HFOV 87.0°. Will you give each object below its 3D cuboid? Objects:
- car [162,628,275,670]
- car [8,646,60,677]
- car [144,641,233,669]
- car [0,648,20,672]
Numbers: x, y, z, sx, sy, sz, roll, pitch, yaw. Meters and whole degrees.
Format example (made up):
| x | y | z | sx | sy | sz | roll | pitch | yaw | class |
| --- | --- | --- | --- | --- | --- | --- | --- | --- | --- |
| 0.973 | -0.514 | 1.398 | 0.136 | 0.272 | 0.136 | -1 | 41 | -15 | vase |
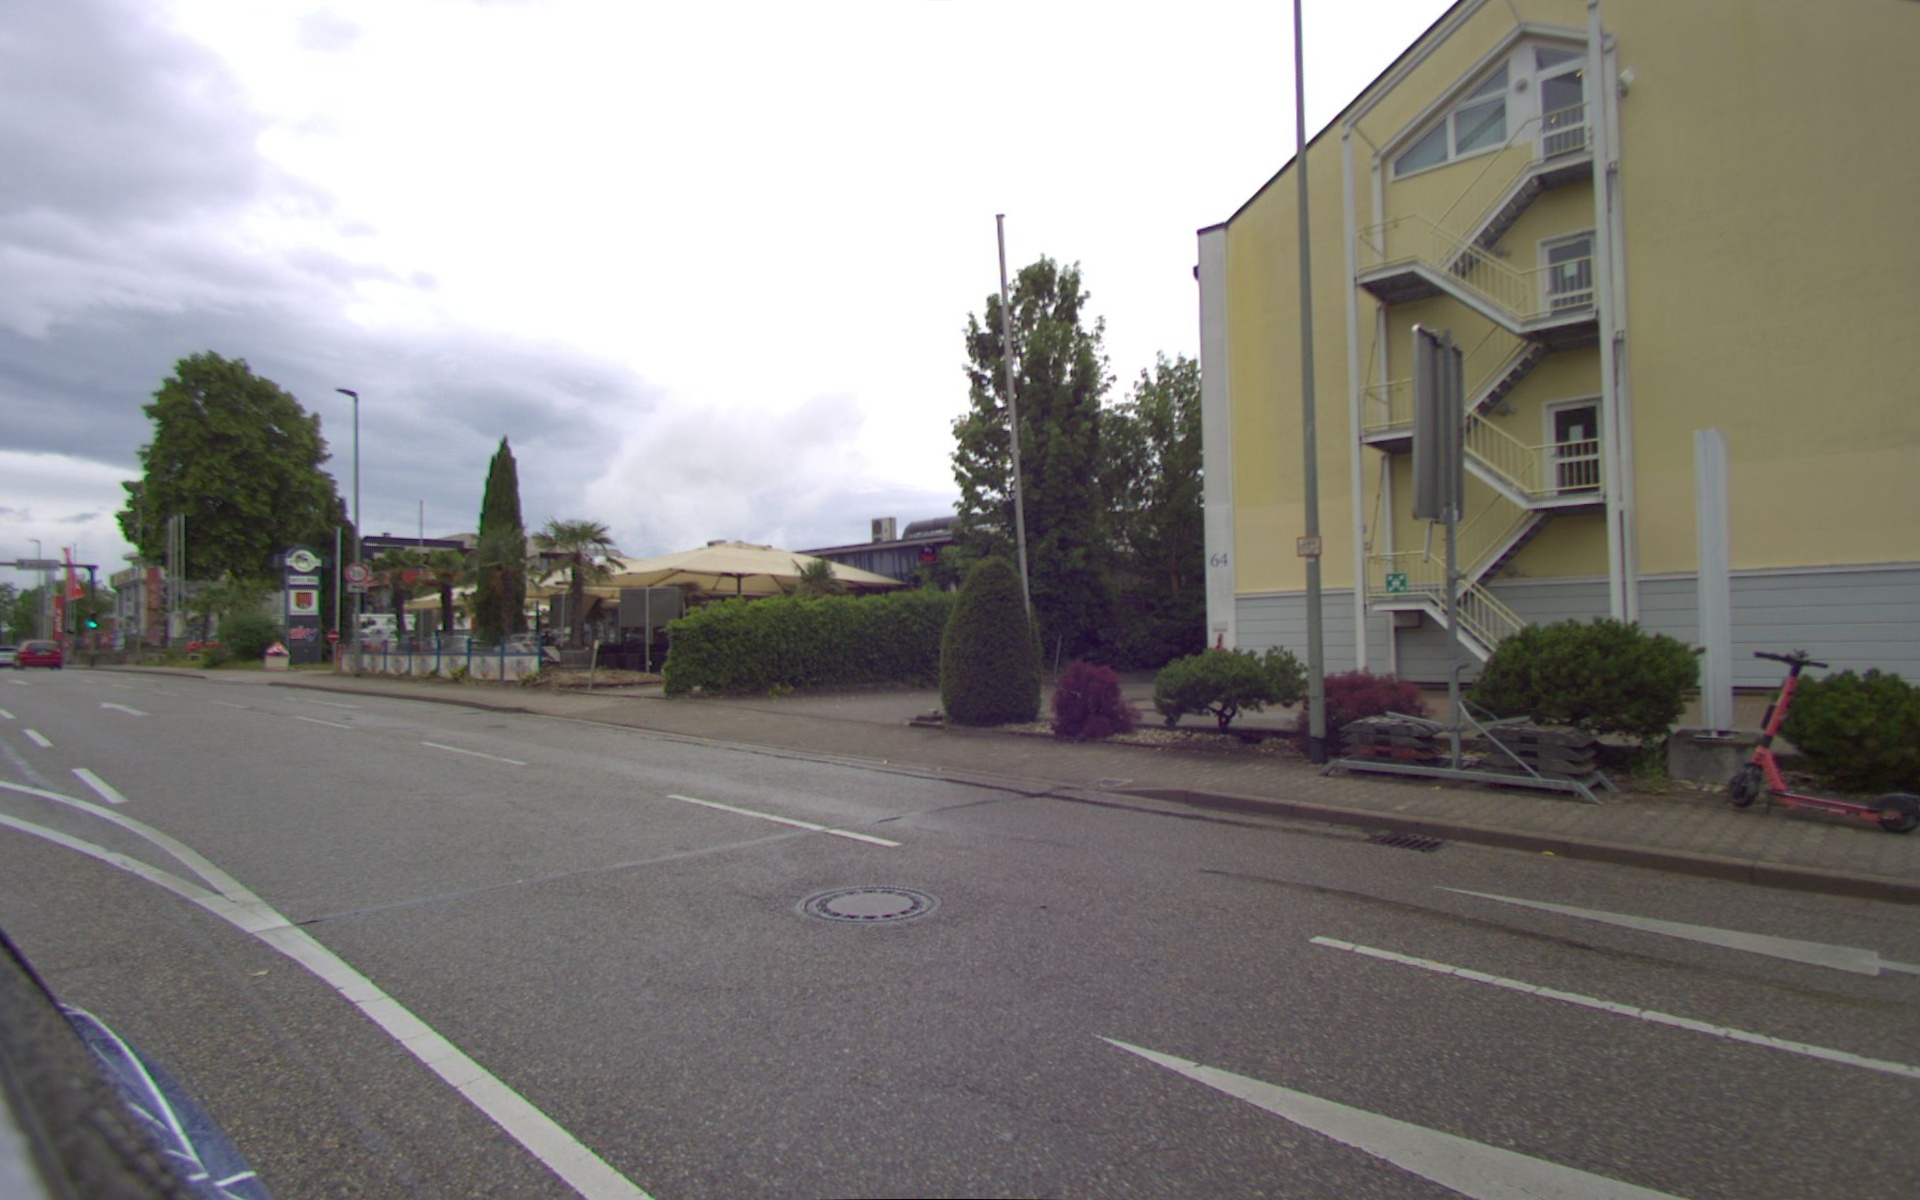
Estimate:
| x | y | z | sx | sy | sz | roll | pitch | yaw | class |
| --- | --- | --- | --- | --- | --- | --- | --- | --- | --- |
| -38.166 | 2.559 | 52.229 | 1.981 | 2.029 | 4.378 | -2 | -4 | 15 | car |
| -48.142 | 3.176 | 52.595 | 3.971 | 1.545 | 1.619 | -3 | -4 | 43 | car |
| -42.927 | 3.033 | 56.369 | 3.556 | 1.515 | 1.670 | 0 | -2 | -18 | car |
| -61.415 | 3.851 | 64.816 | 1.617 | 1.489 | 4.050 | 1 | -3 | -41 | car |
